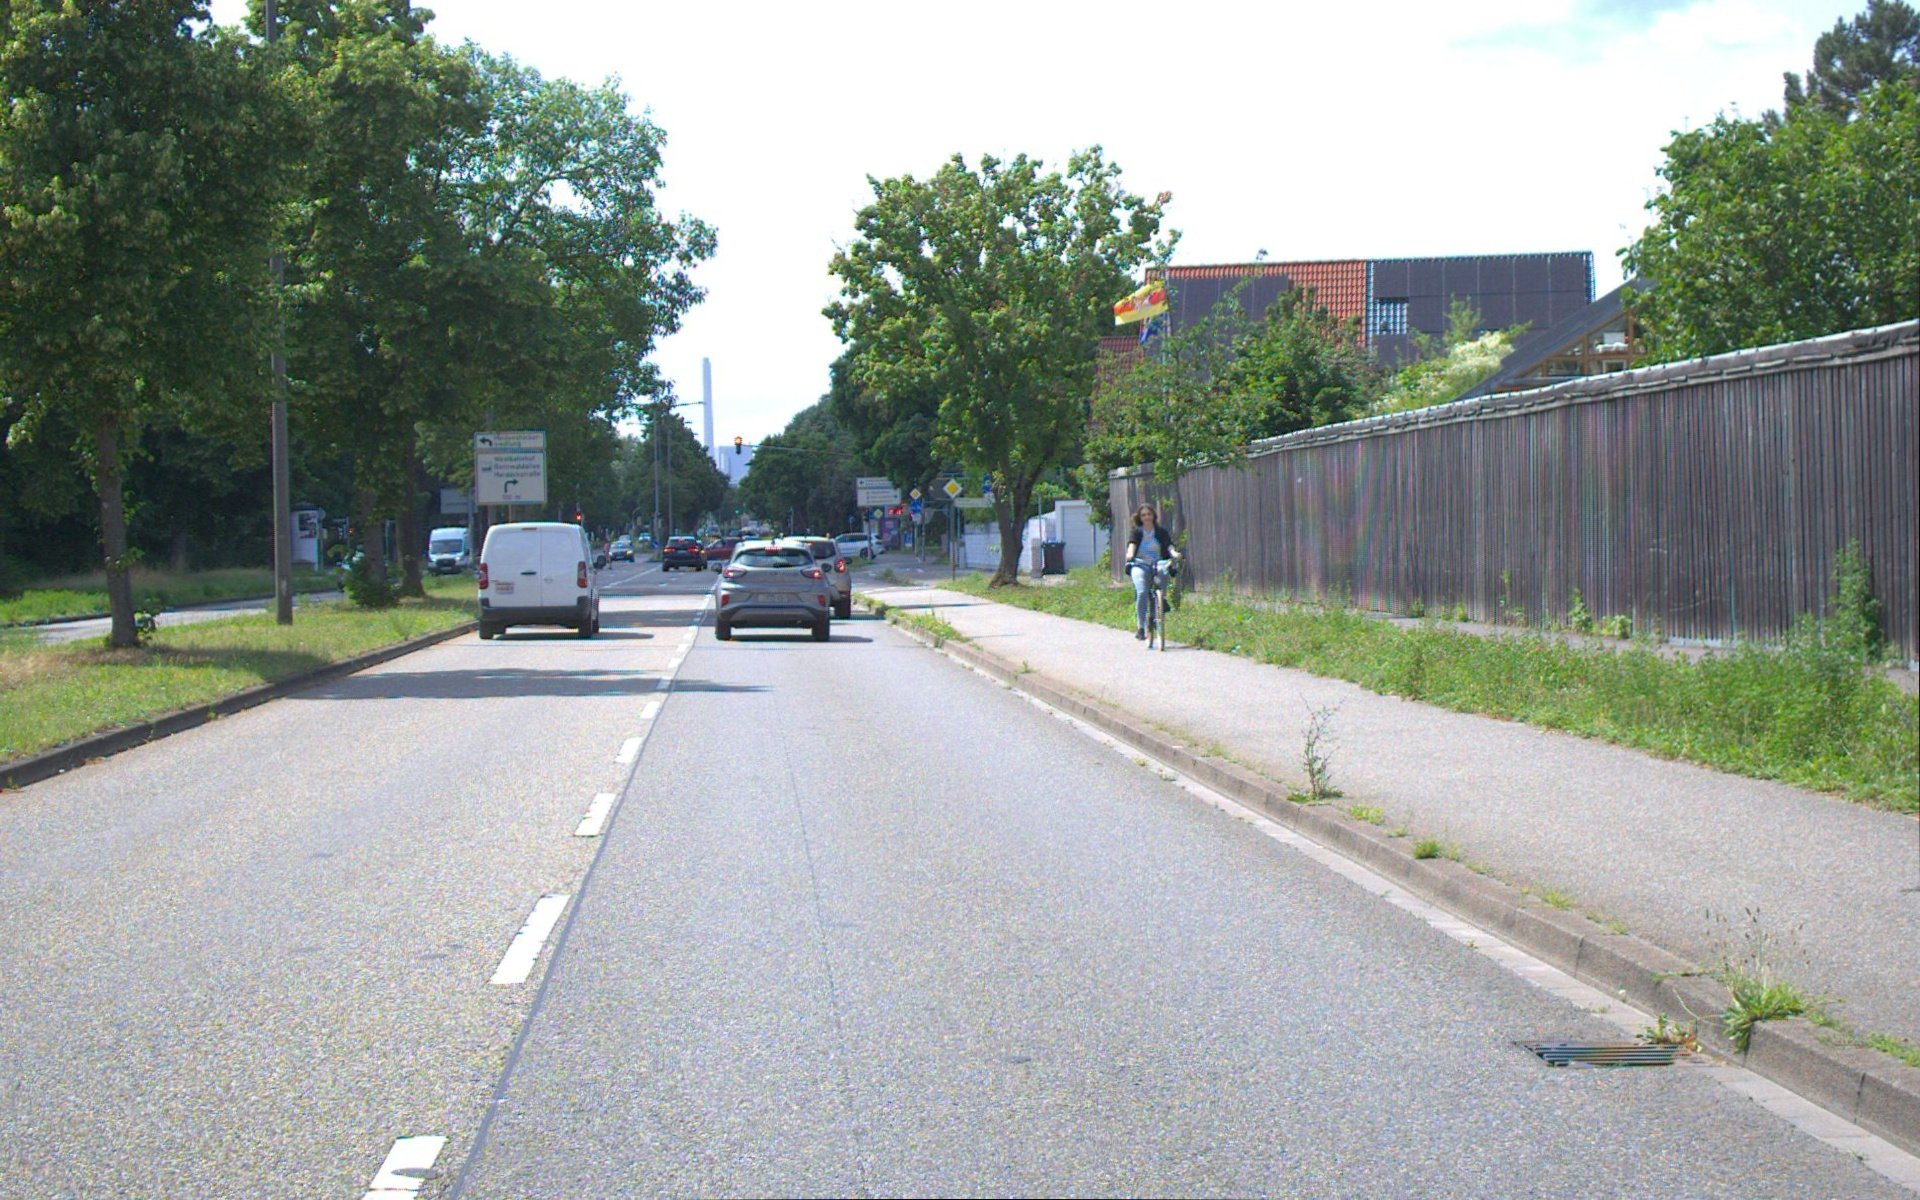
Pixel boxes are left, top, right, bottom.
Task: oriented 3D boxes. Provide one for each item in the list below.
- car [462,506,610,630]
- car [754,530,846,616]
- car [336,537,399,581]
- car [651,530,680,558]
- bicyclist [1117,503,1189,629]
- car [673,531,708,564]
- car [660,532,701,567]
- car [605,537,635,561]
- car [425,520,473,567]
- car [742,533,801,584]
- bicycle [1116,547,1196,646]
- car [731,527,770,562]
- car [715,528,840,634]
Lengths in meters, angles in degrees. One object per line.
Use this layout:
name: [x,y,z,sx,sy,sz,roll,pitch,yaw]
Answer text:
car: [-6.833,-0.556,55.852,2.065,1.905,4.647,-1,1,-3]
car: [-3.235,-0.571,69.149,1.779,1.637,4.197,-1,1,-3]
car: [-23.875,-1.675,138.633,1.993,1.700,4.194,-1,1,-3]
car: [-19.578,-3.738,228.819,1.779,1.761,4.151,-1,1,-3]
bicyclist: [2.250,-0.404,40.110,0.654,1.407,0.986,-4,1,-3]
car: [-14.583,-2.859,186.018,1.779,1.761,4.169,-1,1,-3]
car: [-14.261,-2.584,175.763,1.941,1.761,4.147,-1,1,-3]
car: [-23.601,-3.556,238.705,1.892,1.583,4.110,-1,1,-3]
car: [-27.241,-3.025,183.439,2.045,2.423,5.251,-1,1,-3]
car: [-6.178,-1.375,112.647,1.880,1.581,4.001,-1,1,-3]
bicycle: [2.272,-0.056,40.113,0.646,1.064,2.279,-4,1,-3]
car: [-10.857,-2.906,178.054,1.993,1.766,4.148,0,1,-3]
car: [-2.878,-0.331,54.141,1.875,1.583,4.185,-1,1,-3]
